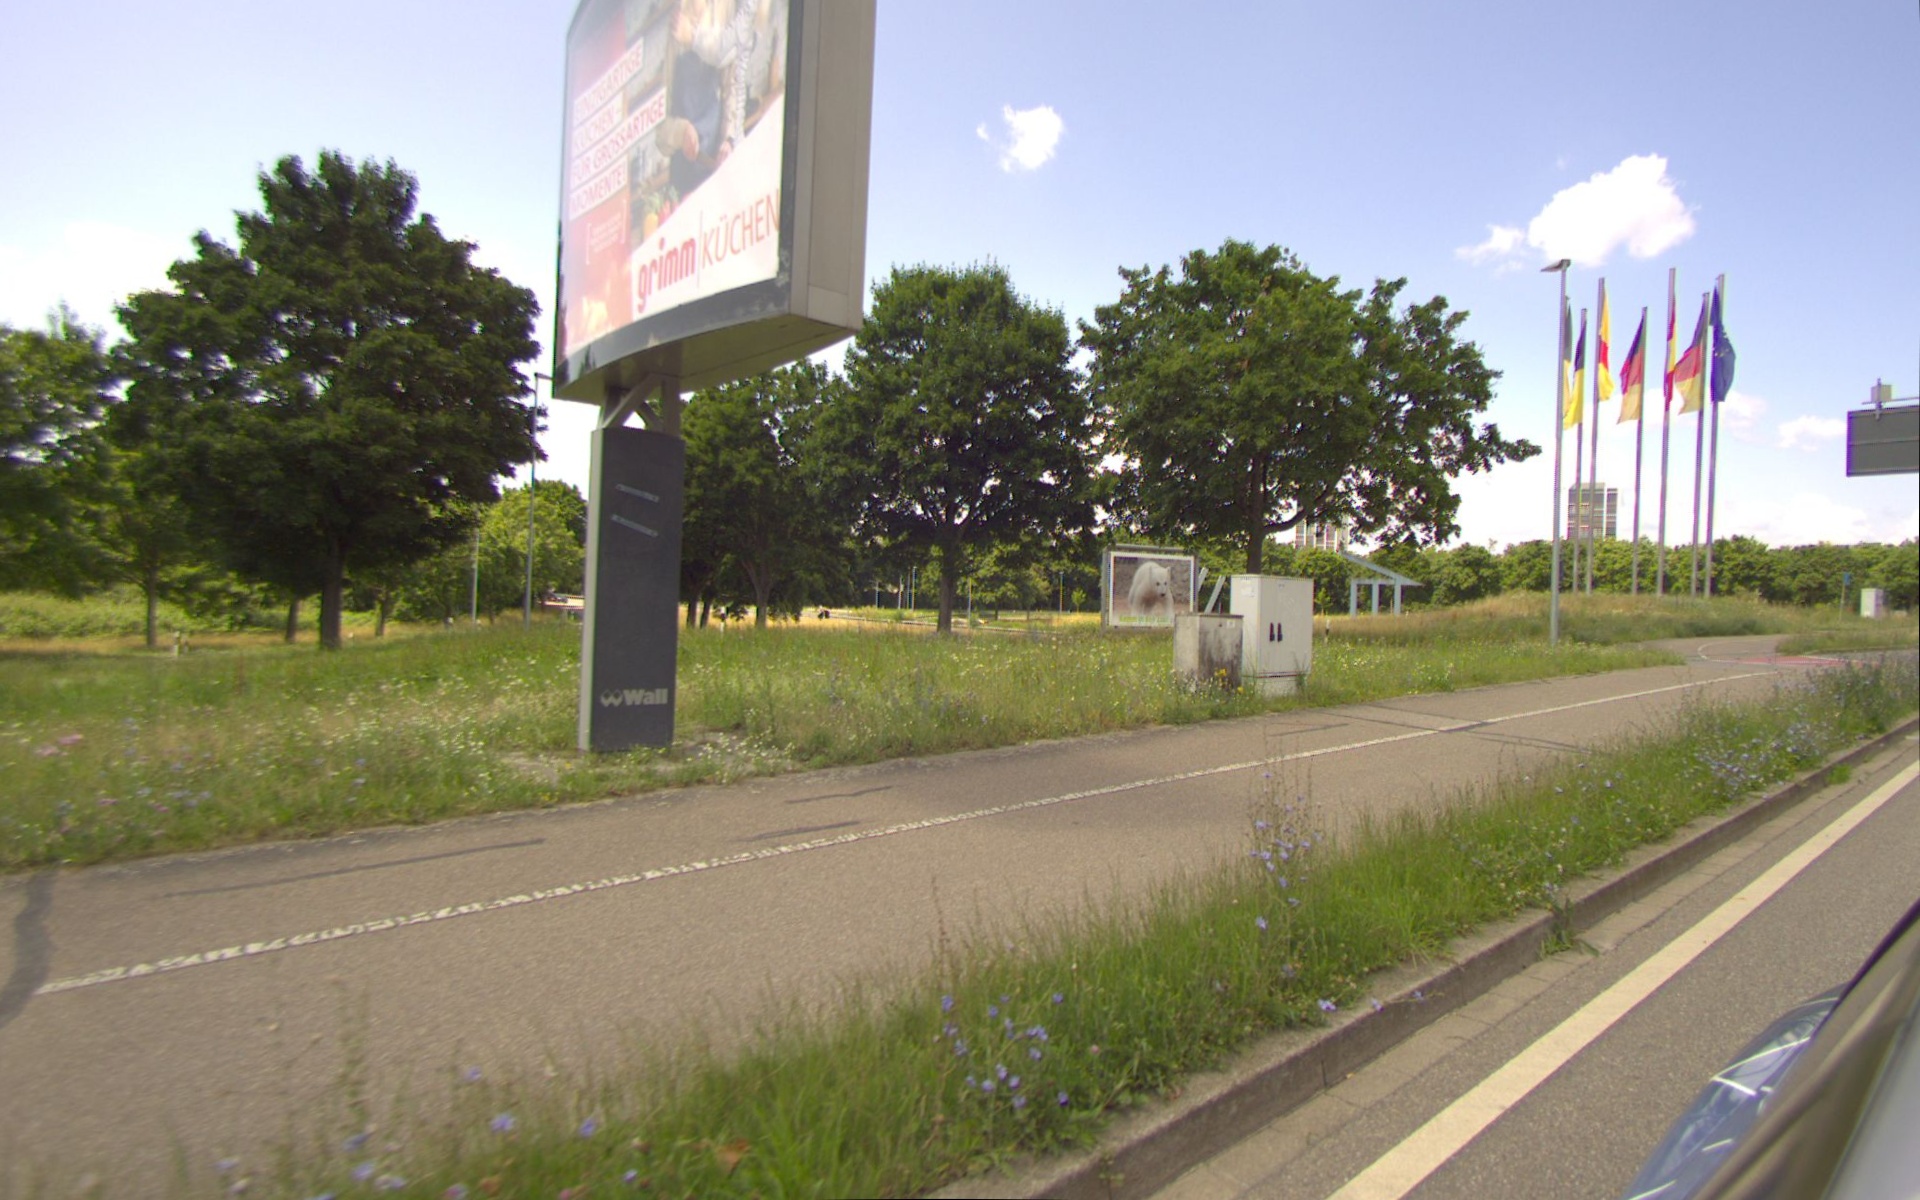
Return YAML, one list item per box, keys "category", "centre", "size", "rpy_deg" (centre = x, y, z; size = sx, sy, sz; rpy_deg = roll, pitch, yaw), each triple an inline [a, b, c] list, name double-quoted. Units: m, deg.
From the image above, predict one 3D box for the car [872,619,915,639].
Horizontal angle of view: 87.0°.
- category: "car"
  centre: [-6.909, 2.997, 104.467]
  size: [3.919, 2.039, 2.002]
  rpy_deg: [2, -1, -30]
